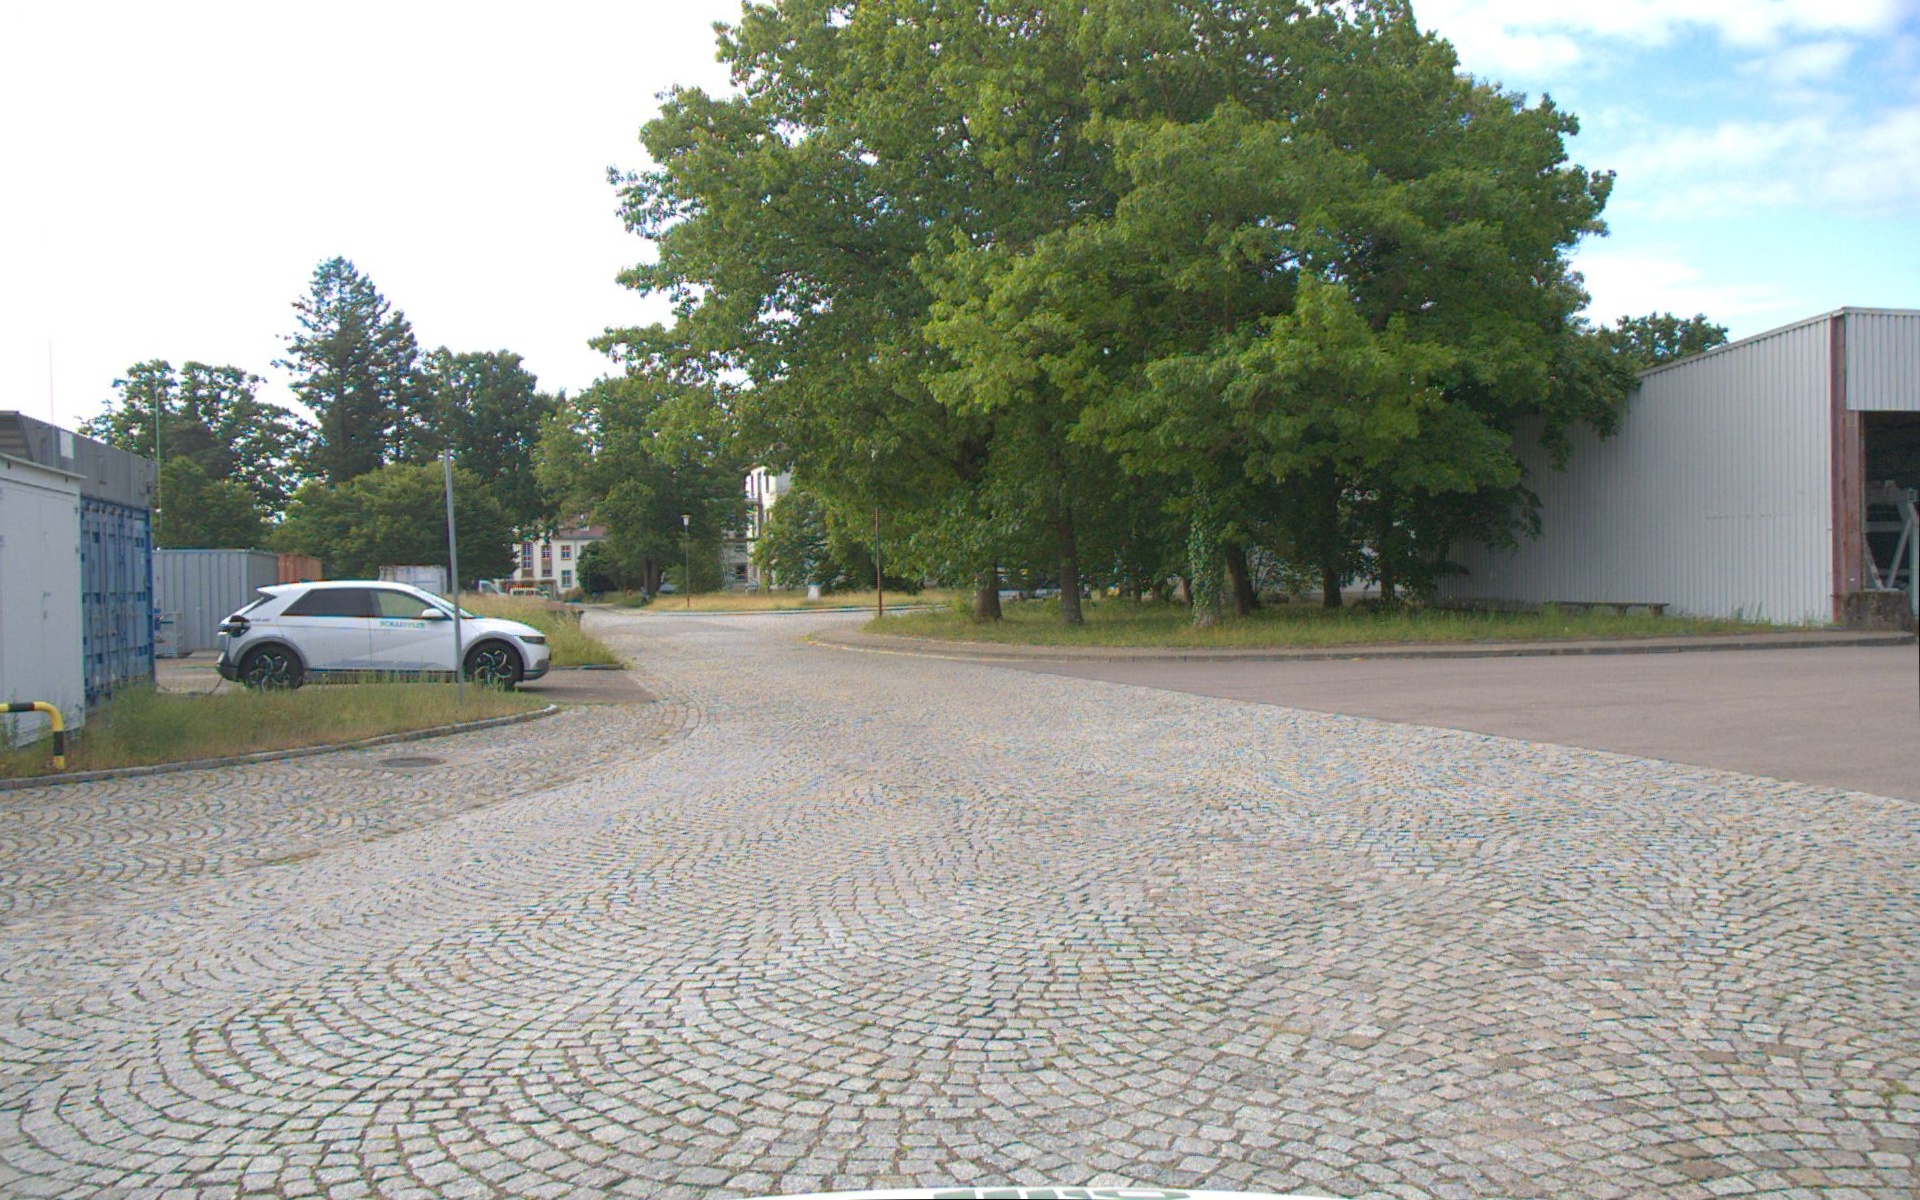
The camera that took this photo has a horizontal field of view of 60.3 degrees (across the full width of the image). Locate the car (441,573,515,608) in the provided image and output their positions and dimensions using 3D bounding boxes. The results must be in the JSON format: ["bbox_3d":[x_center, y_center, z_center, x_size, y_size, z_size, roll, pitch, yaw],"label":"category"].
[{"bbox_3d":[-35.382,-0.713,121.432,5.088,2.378,1.991,-2,1,-17],"label":"car"}]

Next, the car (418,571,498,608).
[{"bbox_3d":[-33.933,-0.718,111.933,5.088,2.378,1.991,-2,1,-17],"label":"car"}]

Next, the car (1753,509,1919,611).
[{"bbox_3d":[19.771,-0.840,35.176,2.206,2.049,5.311,-2,1,-17],"label":"car"}]

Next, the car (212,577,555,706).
[{"bbox_3d":[-8.204,0.553,23.994,4.457,1.627,1.993,-2,1,-14],"label":"car"}]
